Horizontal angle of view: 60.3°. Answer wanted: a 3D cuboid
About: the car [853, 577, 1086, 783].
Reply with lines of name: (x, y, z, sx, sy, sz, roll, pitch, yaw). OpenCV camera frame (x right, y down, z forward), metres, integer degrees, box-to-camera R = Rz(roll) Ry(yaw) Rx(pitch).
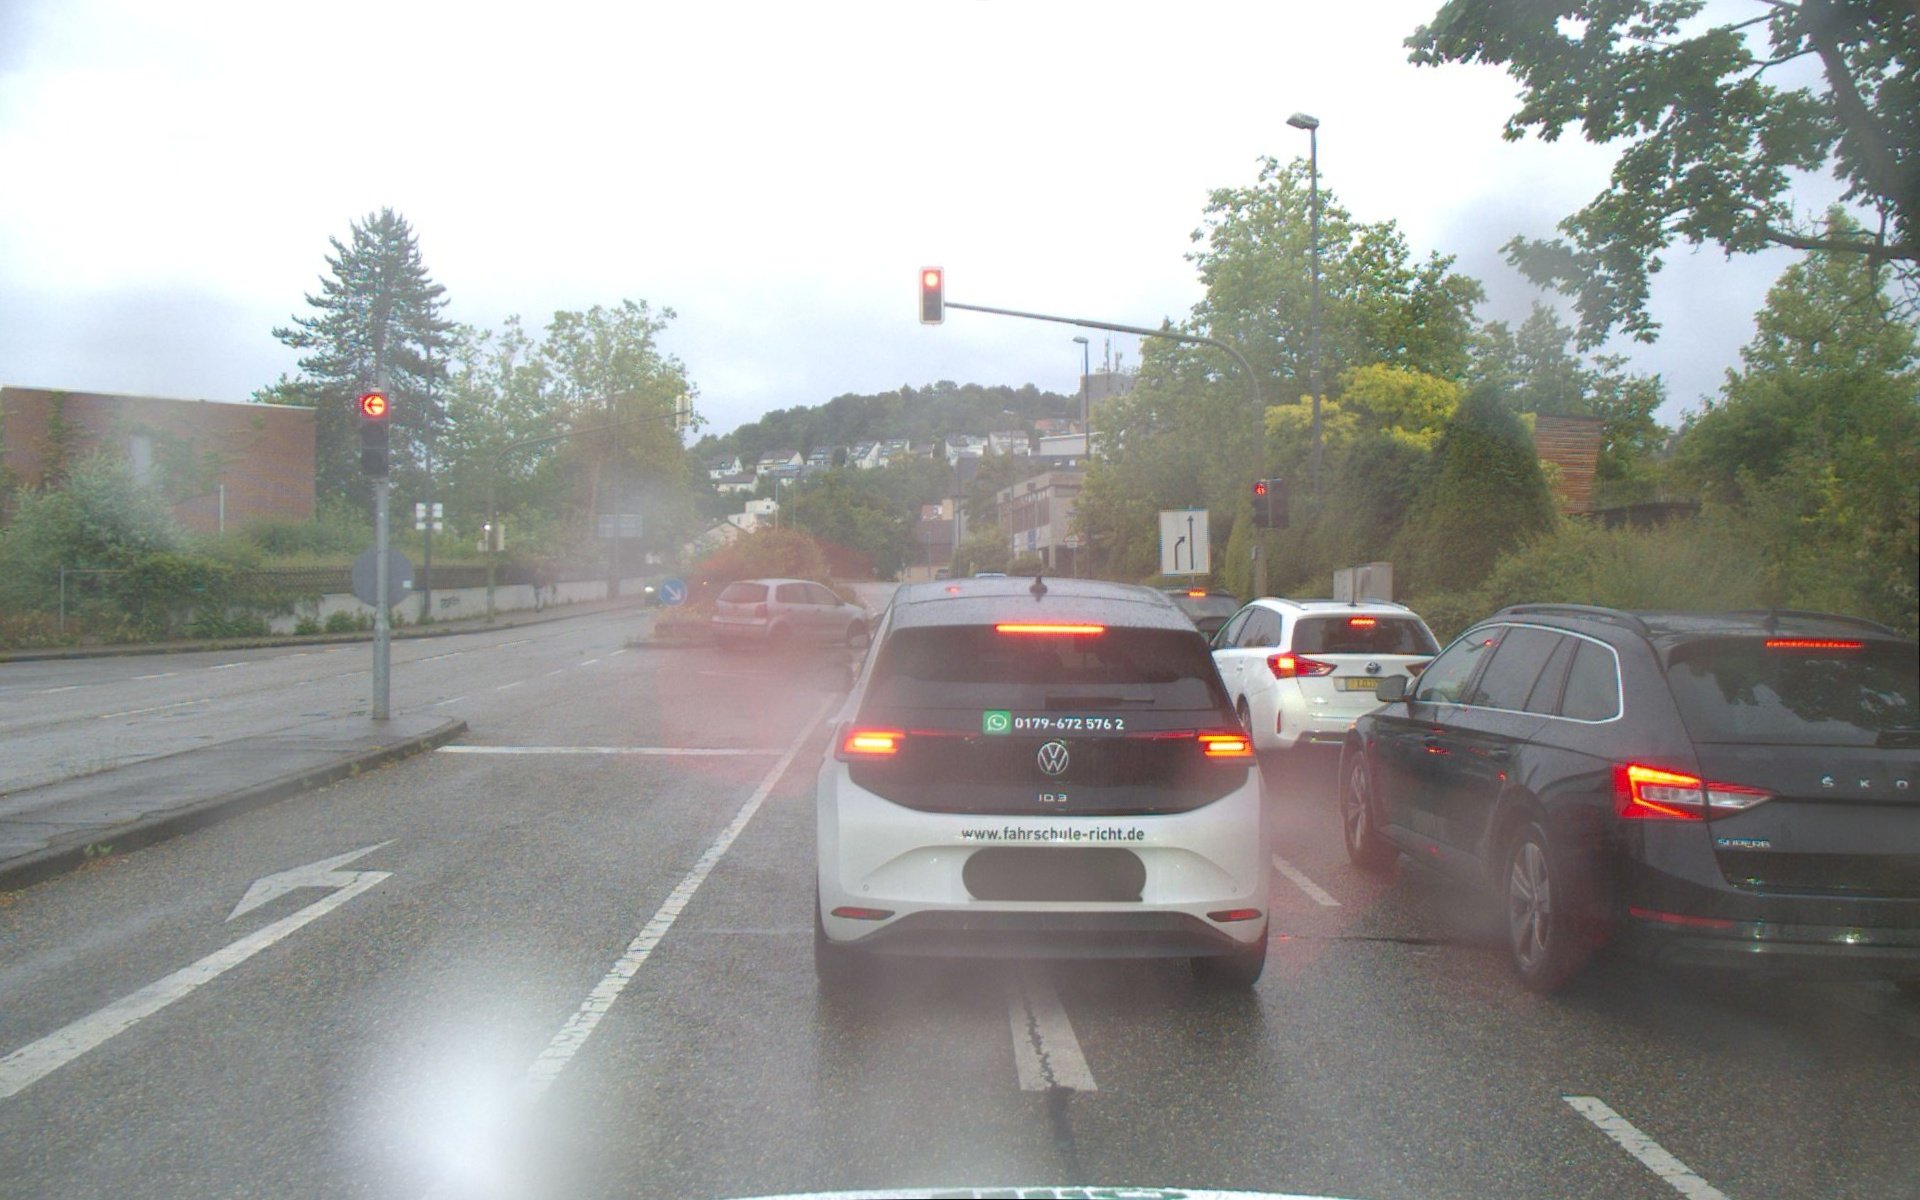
car: (0.029, 0.609, 15.146, 1.800, 1.582, 4.174, 1, 1, -1)

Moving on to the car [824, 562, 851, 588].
car: (-10.371, -2.067, 140.095, 1.953, 2.049, 3.999, 1, -1, -1)

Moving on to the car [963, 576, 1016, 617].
car: (1.070, -0.164, 62.177, 1.726, 1.443, 3.747, -1, 1, -3)

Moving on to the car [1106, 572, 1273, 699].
car: (3.158, 0.460, 23.442, 1.739, 1.609, 3.999, 1, 0, -1)

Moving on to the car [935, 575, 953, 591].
car: (-1.646, -1.720, 168.758, 1.739, 1.609, 3.999, -2, 0, -1)

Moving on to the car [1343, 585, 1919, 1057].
car: (3.134, 0.703, 7.494, 1.800, 1.492, 4.350, 1, 1, 1)

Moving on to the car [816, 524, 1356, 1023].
car: (0.377, 0.570, 7.925, 1.800, 1.657, 4.614, 1, 1, -1)

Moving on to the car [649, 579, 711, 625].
car: (-12.090, 0.084, 71.608, 1.953, 1.836, 3.999, -3, 0, -1)

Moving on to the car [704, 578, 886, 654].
car: (-3.397, 0.303, 34.689, 1.554, 1.492, 3.985, -1, 0, 36)

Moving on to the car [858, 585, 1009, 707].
car: (-0.366, 0.545, 21.935, 1.800, 1.424, 3.830, 1, 1, -1)

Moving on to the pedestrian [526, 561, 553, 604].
pedestrian: (-15.721, -0.654, 61.841, 0.744, 1.595, 0.825, -2, 0, -2)

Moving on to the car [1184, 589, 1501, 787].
car: (3.272, 0.675, 14.979, 1.800, 1.492, 4.116, 1, 1, -1)
